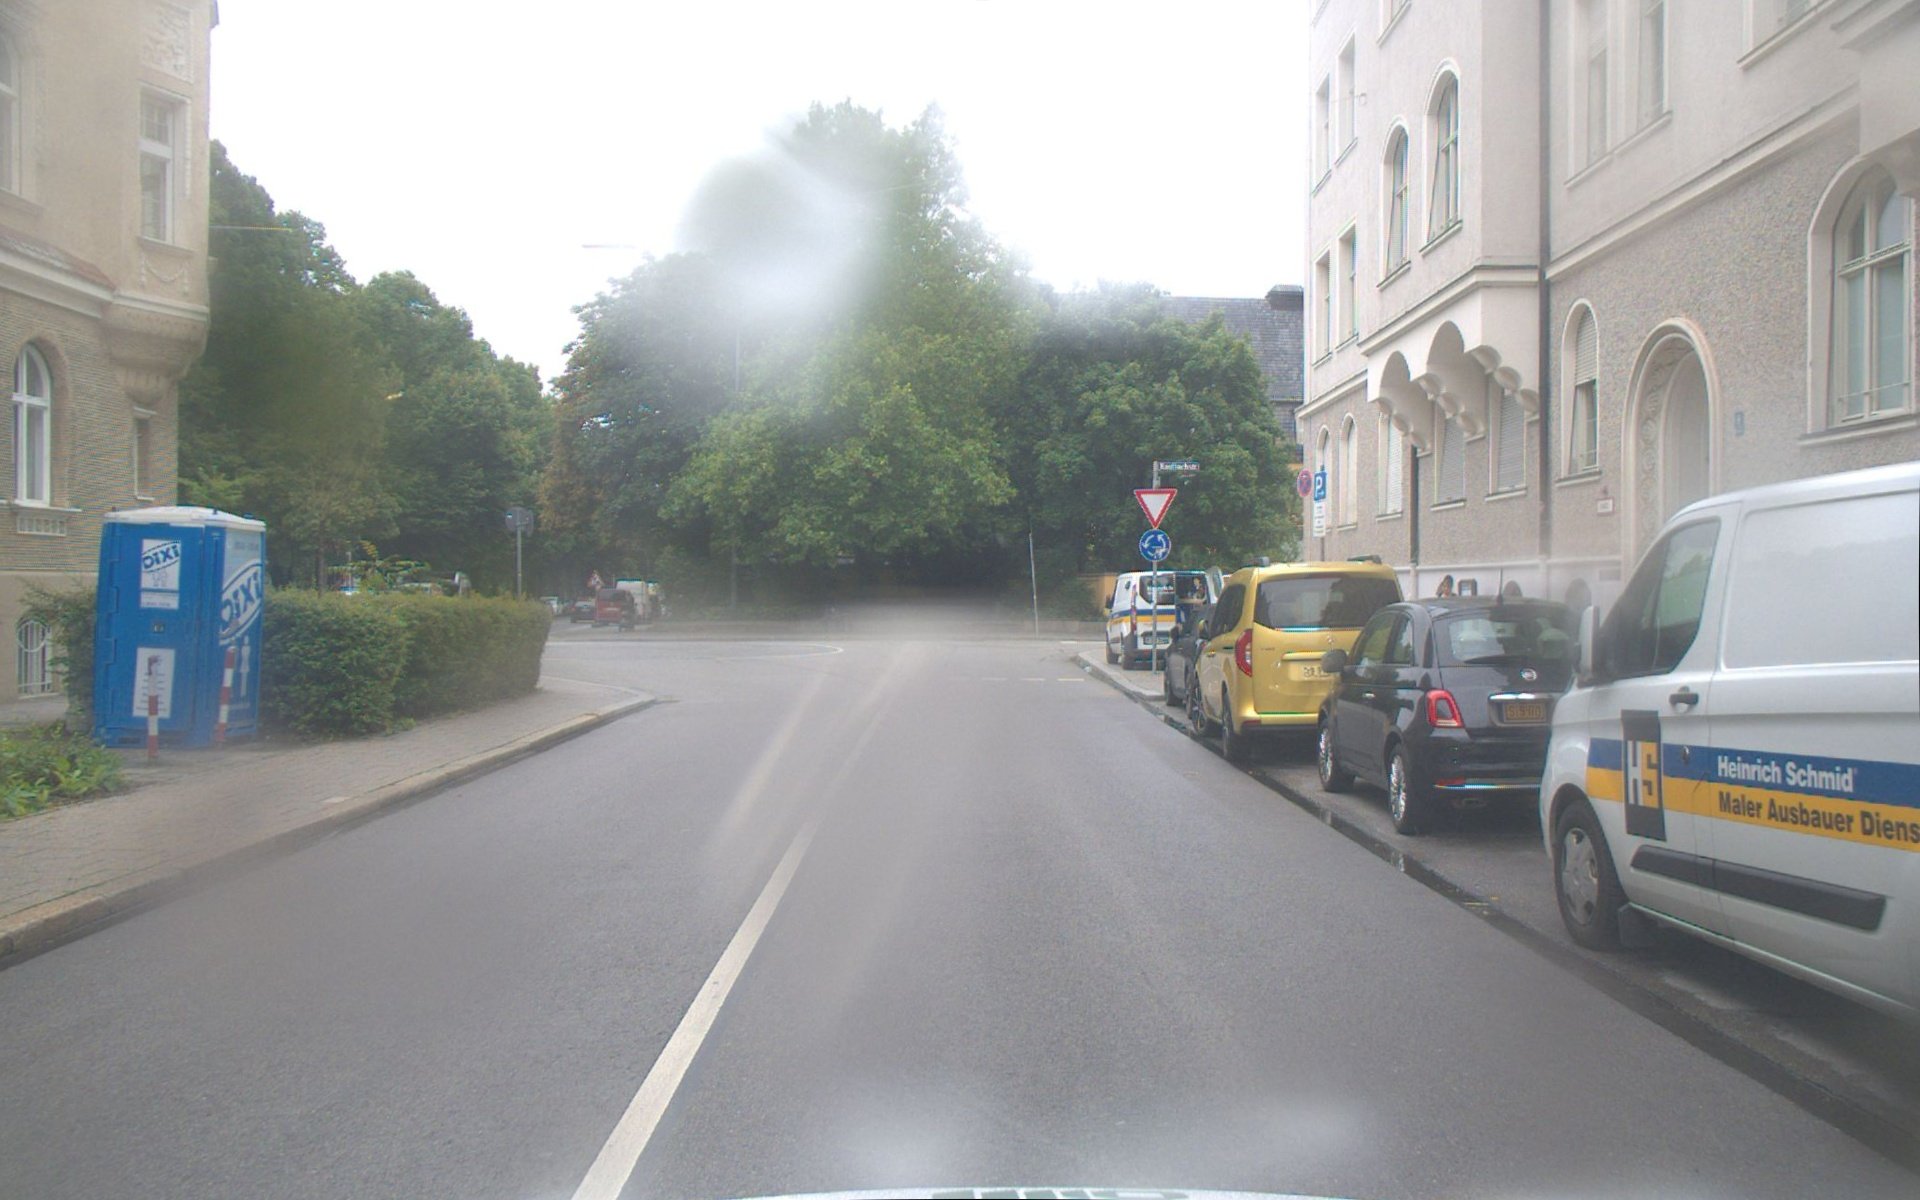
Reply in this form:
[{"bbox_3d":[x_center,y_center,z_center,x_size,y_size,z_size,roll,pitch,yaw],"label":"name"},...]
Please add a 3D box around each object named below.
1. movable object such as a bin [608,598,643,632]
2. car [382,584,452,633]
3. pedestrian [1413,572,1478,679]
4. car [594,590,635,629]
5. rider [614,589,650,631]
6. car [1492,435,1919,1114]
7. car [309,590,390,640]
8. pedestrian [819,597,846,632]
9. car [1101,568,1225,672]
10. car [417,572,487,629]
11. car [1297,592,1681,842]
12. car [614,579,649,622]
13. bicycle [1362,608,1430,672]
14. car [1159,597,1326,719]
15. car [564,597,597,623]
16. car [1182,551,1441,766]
[{"bbox_3d":[-13.636,0.610,67.463,1.055,1.289,1.087,-3,0,7],"label":"movable object such as a bin"},{"bbox_3d":[-26.161,0.384,79.889,2.069,2.290,5.189,0,0,-5],"label":"car"},{"bbox_3d":[8.218,0.429,28.017,0.688,1.767,0.724,-1,-3,-45],"label":"pedestrian"},{"bbox_3d":[-18.220,0.484,87.409,2.005,1.956,4.434,0,0,-11],"label":"car"},{"bbox_3d":[-13.534,0.404,68.322,1.059,1.696,1.140,-3,0,7],"label":"rider"},{"bbox_3d":[3.706,0.495,5.781,1.920,1.971,4.991,-1,0,-2],"label":"car"},{"bbox_3d":[-24.371,0.570,66.167,1.889,1.928,4.861,0,0,-6],"label":"car"},{"bbox_3d":[-4.470,0.510,58.036,0.794,1.209,0.920,0,0,6],"label":"pedestrian"},{"bbox_3d":[4.208,0.384,35.044,1.877,1.996,4.926,-1,0,-1],"label":"car"},{"bbox_3d":[-27.335,0.013,89.192,2.289,2.973,6.571,0,0,-5],"label":"car"},{"bbox_3d":[3.603,0.707,11.951,1.598,1.510,3.784,-1,0,1],"label":"car"},{"bbox_3d":[-20.403,0.026,103.007,2.004,2.603,5.235,0,0,-10],"label":"car"},{"bbox_3d":[8.281,0.737,31.494,0.680,1.113,2.283,-2,0,1],"label":"bicycle"},{"bbox_3d":[3.732,0.711,22.392,1.629,1.483,3.896,0,0,1],"label":"car"},{"bbox_3d":[-23.223,0.604,101.319,1.756,1.518,3.990,0,0,-10],"label":"car"},{"bbox_3d":[3.411,0.502,16.957,1.812,1.885,4.822,0,0,2],"label":"car"}]
